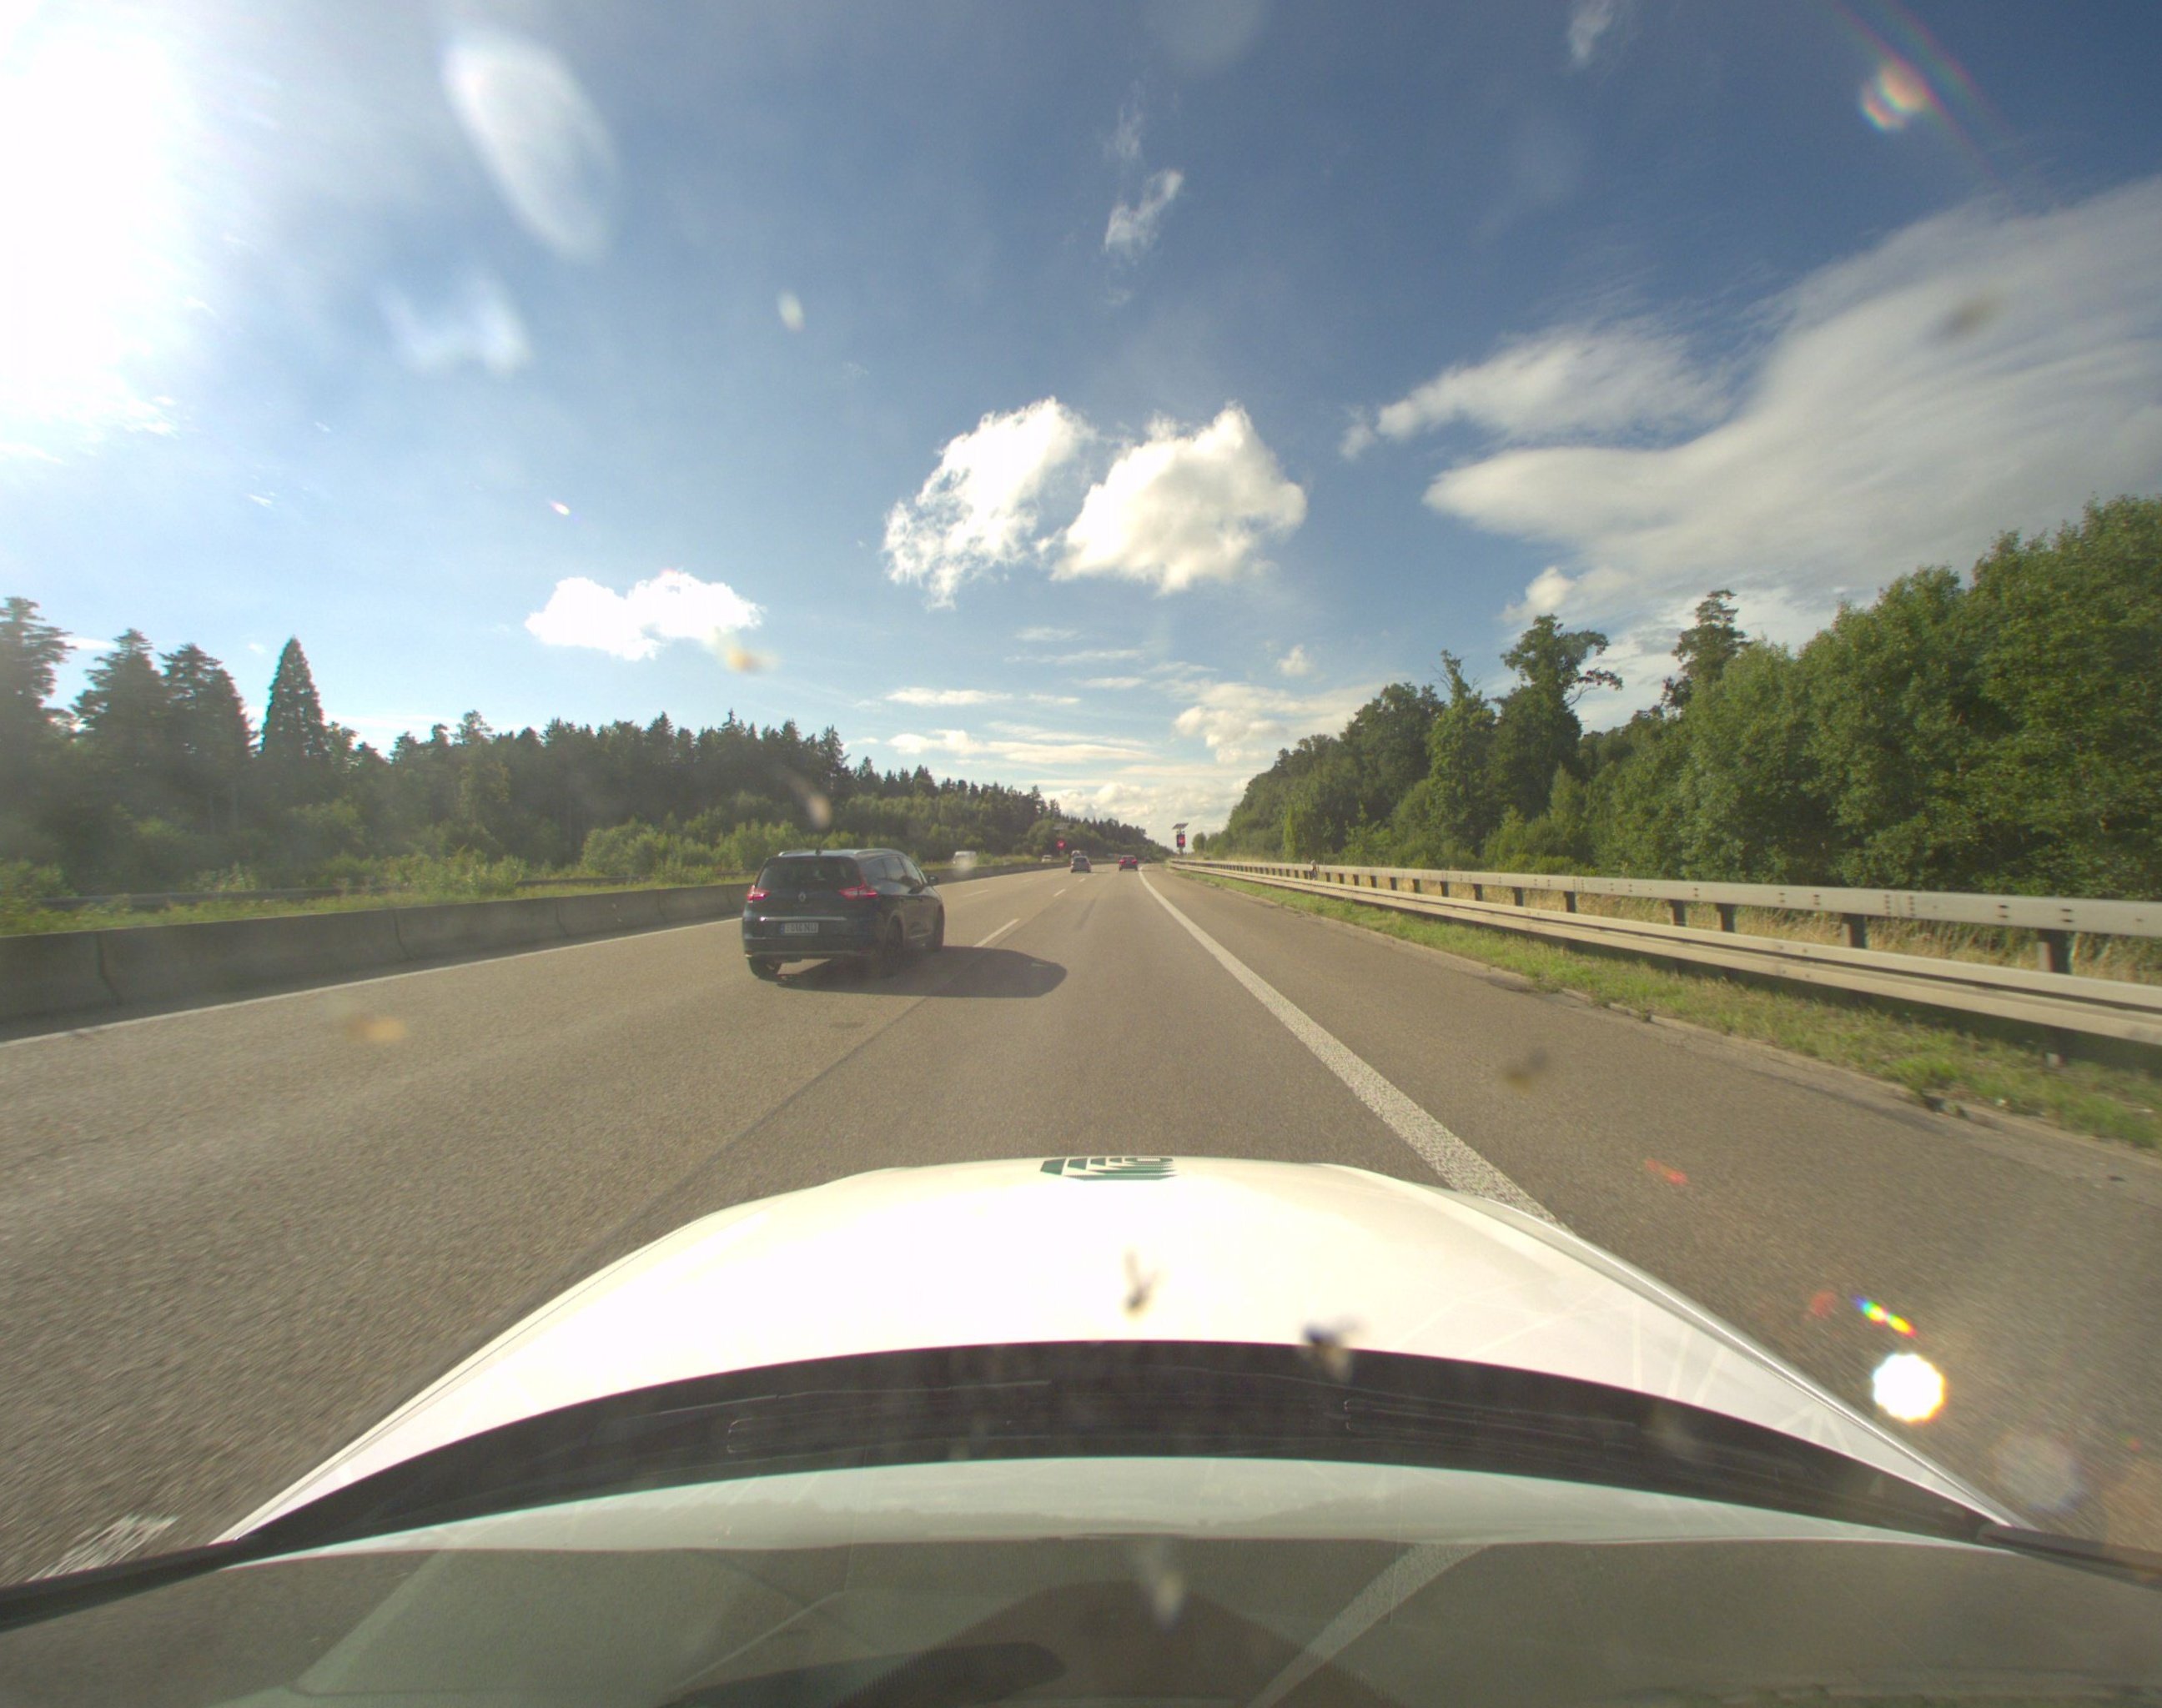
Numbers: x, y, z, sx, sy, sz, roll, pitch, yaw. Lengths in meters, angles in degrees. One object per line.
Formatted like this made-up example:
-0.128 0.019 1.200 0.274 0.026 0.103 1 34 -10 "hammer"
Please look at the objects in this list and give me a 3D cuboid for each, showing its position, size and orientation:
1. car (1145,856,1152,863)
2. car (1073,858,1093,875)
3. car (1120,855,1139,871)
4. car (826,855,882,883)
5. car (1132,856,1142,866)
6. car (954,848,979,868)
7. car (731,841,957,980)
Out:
17.045 1.287 205.558 1.804 1.706 4.005 -1 0 5 "car"
0.190 1.174 77.639 1.867 1.497 3.879 -1 0 0 "car"
5.067 0.942 85.964 1.866 1.675 3.892 -1 0 2 "car"
-13.645 0.869 49.191 1.918 1.609 4.467 -1 0 2 "car"
11.997 1.517 174.357 1.987 2.013 3.999 0 0 -1 "car"
-13.769 0.488 98.116 2.056 2.244 5.208 -1 0 3 "car"
-3.282 0.701 12.361 1.986 1.707 4.530 -1 0 1 "car"
